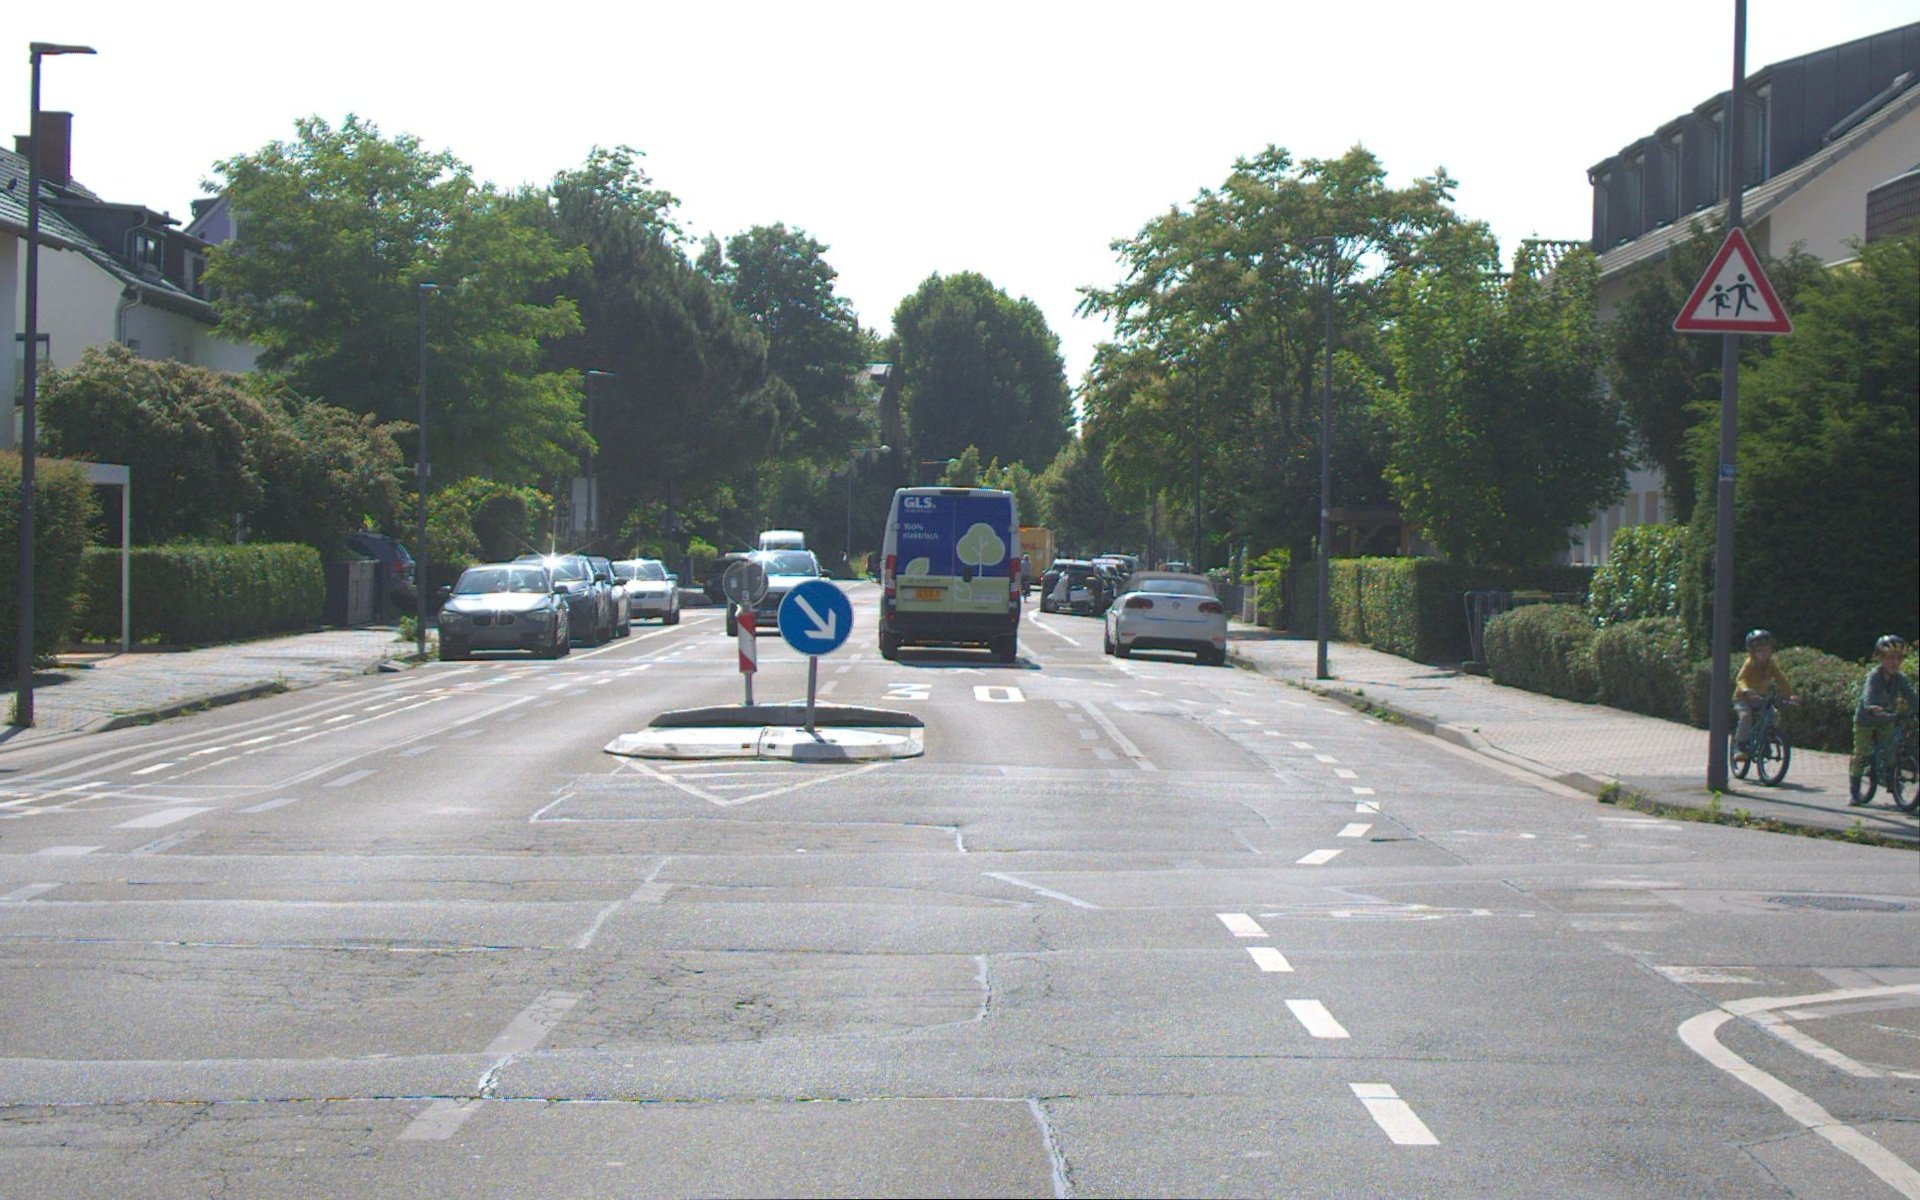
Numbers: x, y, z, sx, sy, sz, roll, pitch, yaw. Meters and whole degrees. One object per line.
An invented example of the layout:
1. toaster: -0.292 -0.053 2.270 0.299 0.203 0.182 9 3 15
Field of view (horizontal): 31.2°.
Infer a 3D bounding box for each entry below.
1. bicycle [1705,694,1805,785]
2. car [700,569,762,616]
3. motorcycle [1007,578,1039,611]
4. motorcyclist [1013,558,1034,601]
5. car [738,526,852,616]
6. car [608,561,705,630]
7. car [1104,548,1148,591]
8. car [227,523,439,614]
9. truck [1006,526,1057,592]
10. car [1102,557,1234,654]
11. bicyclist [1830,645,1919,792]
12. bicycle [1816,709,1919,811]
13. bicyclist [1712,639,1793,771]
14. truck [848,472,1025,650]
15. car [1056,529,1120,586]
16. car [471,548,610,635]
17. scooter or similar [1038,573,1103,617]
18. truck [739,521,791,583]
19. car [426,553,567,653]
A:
1. bicycle: 5.749 1.003 24.890 0.401 0.597 1.151 1 1 -3
2. car: -7.320 -0.252 110.290 1.781 1.455 4.086 1 0 -1
3. motorcycle: 2.227 -0.187 121.114 1.056 1.119 2.992 1 0 0
4. motorcyclist: 2.232 -0.717 121.052 0.672 1.513 0.652 1 0 0
5. car: -3.140 -0.556 66.360 1.915 1.661 4.506 0 0 1
6. car: -6.636 -0.118 75.413 1.785 1.435 4.000 1 1 0
7. car: 6.665 -1.233 137.878 1.700 1.671 3.774 1 1 3
8. car: -12.938 -0.663 71.133 3.987 1.753 2.000 1 1 0
9. truck: 3.284 -1.887 159.093 2.214 2.936 5.686 1 0 1
10. car: 3.318 0.064 55.567 1.740 1.397 4.074 3 1 -1
11. bicyclist: 5.992 0.765 22.459 0.401 0.926 0.658 1 0 -3
12. bicycle: 5.986 1.040 22.524 0.401 0.597 1.174 1 1 -3
13. bicyclist: 5.735 0.754 24.891 0.398 0.930 0.609 1 0 -3
14. truck: -0.413 -0.586 52.617 2.272 2.562 4.393 1 0 -6
15. car: 3.847 -1.305 103.782 1.785 1.632 4.470 2 1 1
16. car: -7.143 -0.167 58.897 1.785 1.435 4.111 0 1 1
17. scooter or similar: 3.244 -0.153 100.904 1.796 1.150 0.718 6 1 45
18. truck: -8.228 -2.019 145.357 2.080 2.528 5.468 1 1 -3
19. car: -7.002 0.013 52.257 1.785 1.435 4.155 0 1 -3
